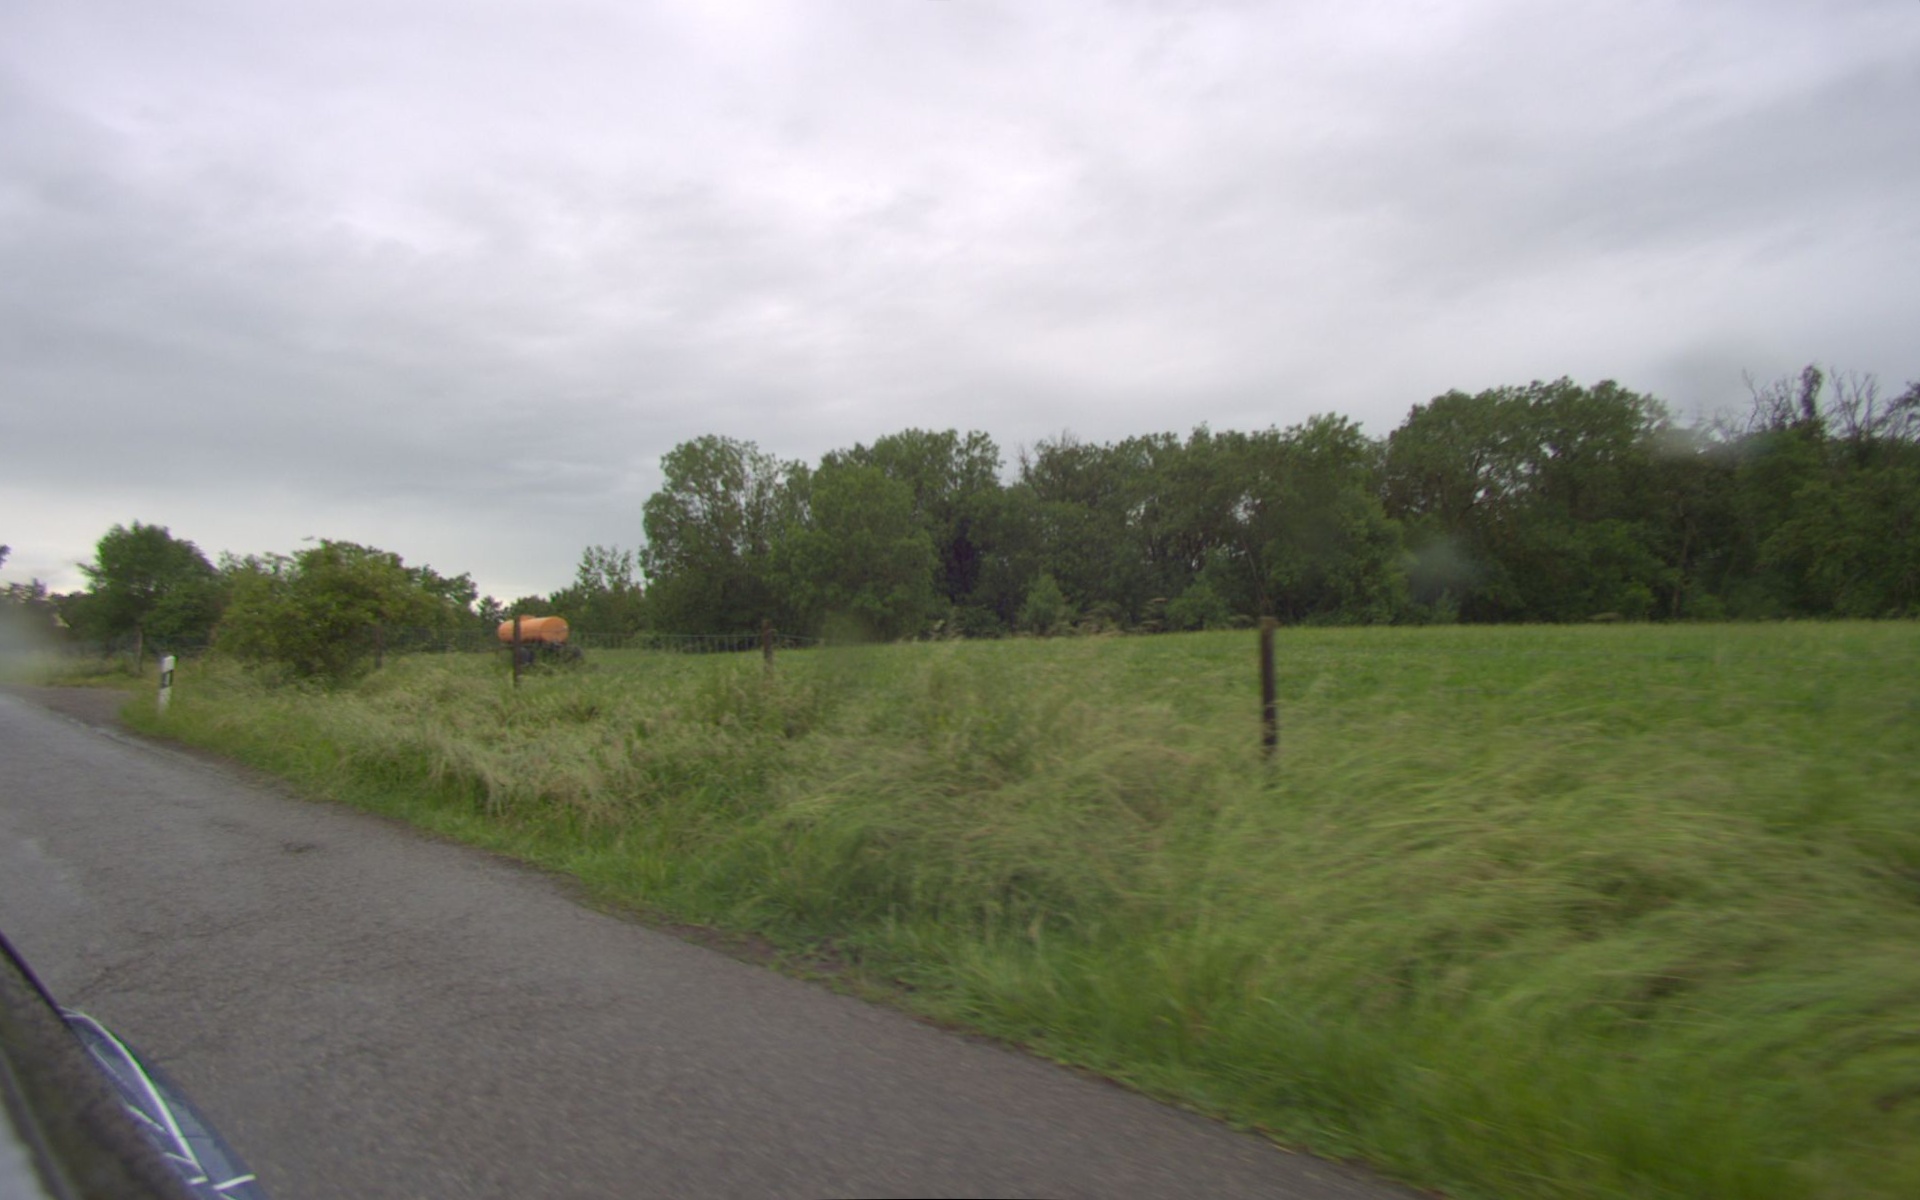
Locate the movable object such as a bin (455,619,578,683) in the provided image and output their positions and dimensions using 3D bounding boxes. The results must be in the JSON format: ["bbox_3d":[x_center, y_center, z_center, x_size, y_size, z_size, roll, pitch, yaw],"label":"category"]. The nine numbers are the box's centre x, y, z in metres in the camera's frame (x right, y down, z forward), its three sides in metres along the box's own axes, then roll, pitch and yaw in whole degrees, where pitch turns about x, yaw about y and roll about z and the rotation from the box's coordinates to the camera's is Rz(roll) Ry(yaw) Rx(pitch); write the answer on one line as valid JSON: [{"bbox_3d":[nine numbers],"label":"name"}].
[{"bbox_3d":[-12.184,1.351,27.714,3.535,1.583,1.662,-2,0,40],"label":"movable object such as a bin"}]
